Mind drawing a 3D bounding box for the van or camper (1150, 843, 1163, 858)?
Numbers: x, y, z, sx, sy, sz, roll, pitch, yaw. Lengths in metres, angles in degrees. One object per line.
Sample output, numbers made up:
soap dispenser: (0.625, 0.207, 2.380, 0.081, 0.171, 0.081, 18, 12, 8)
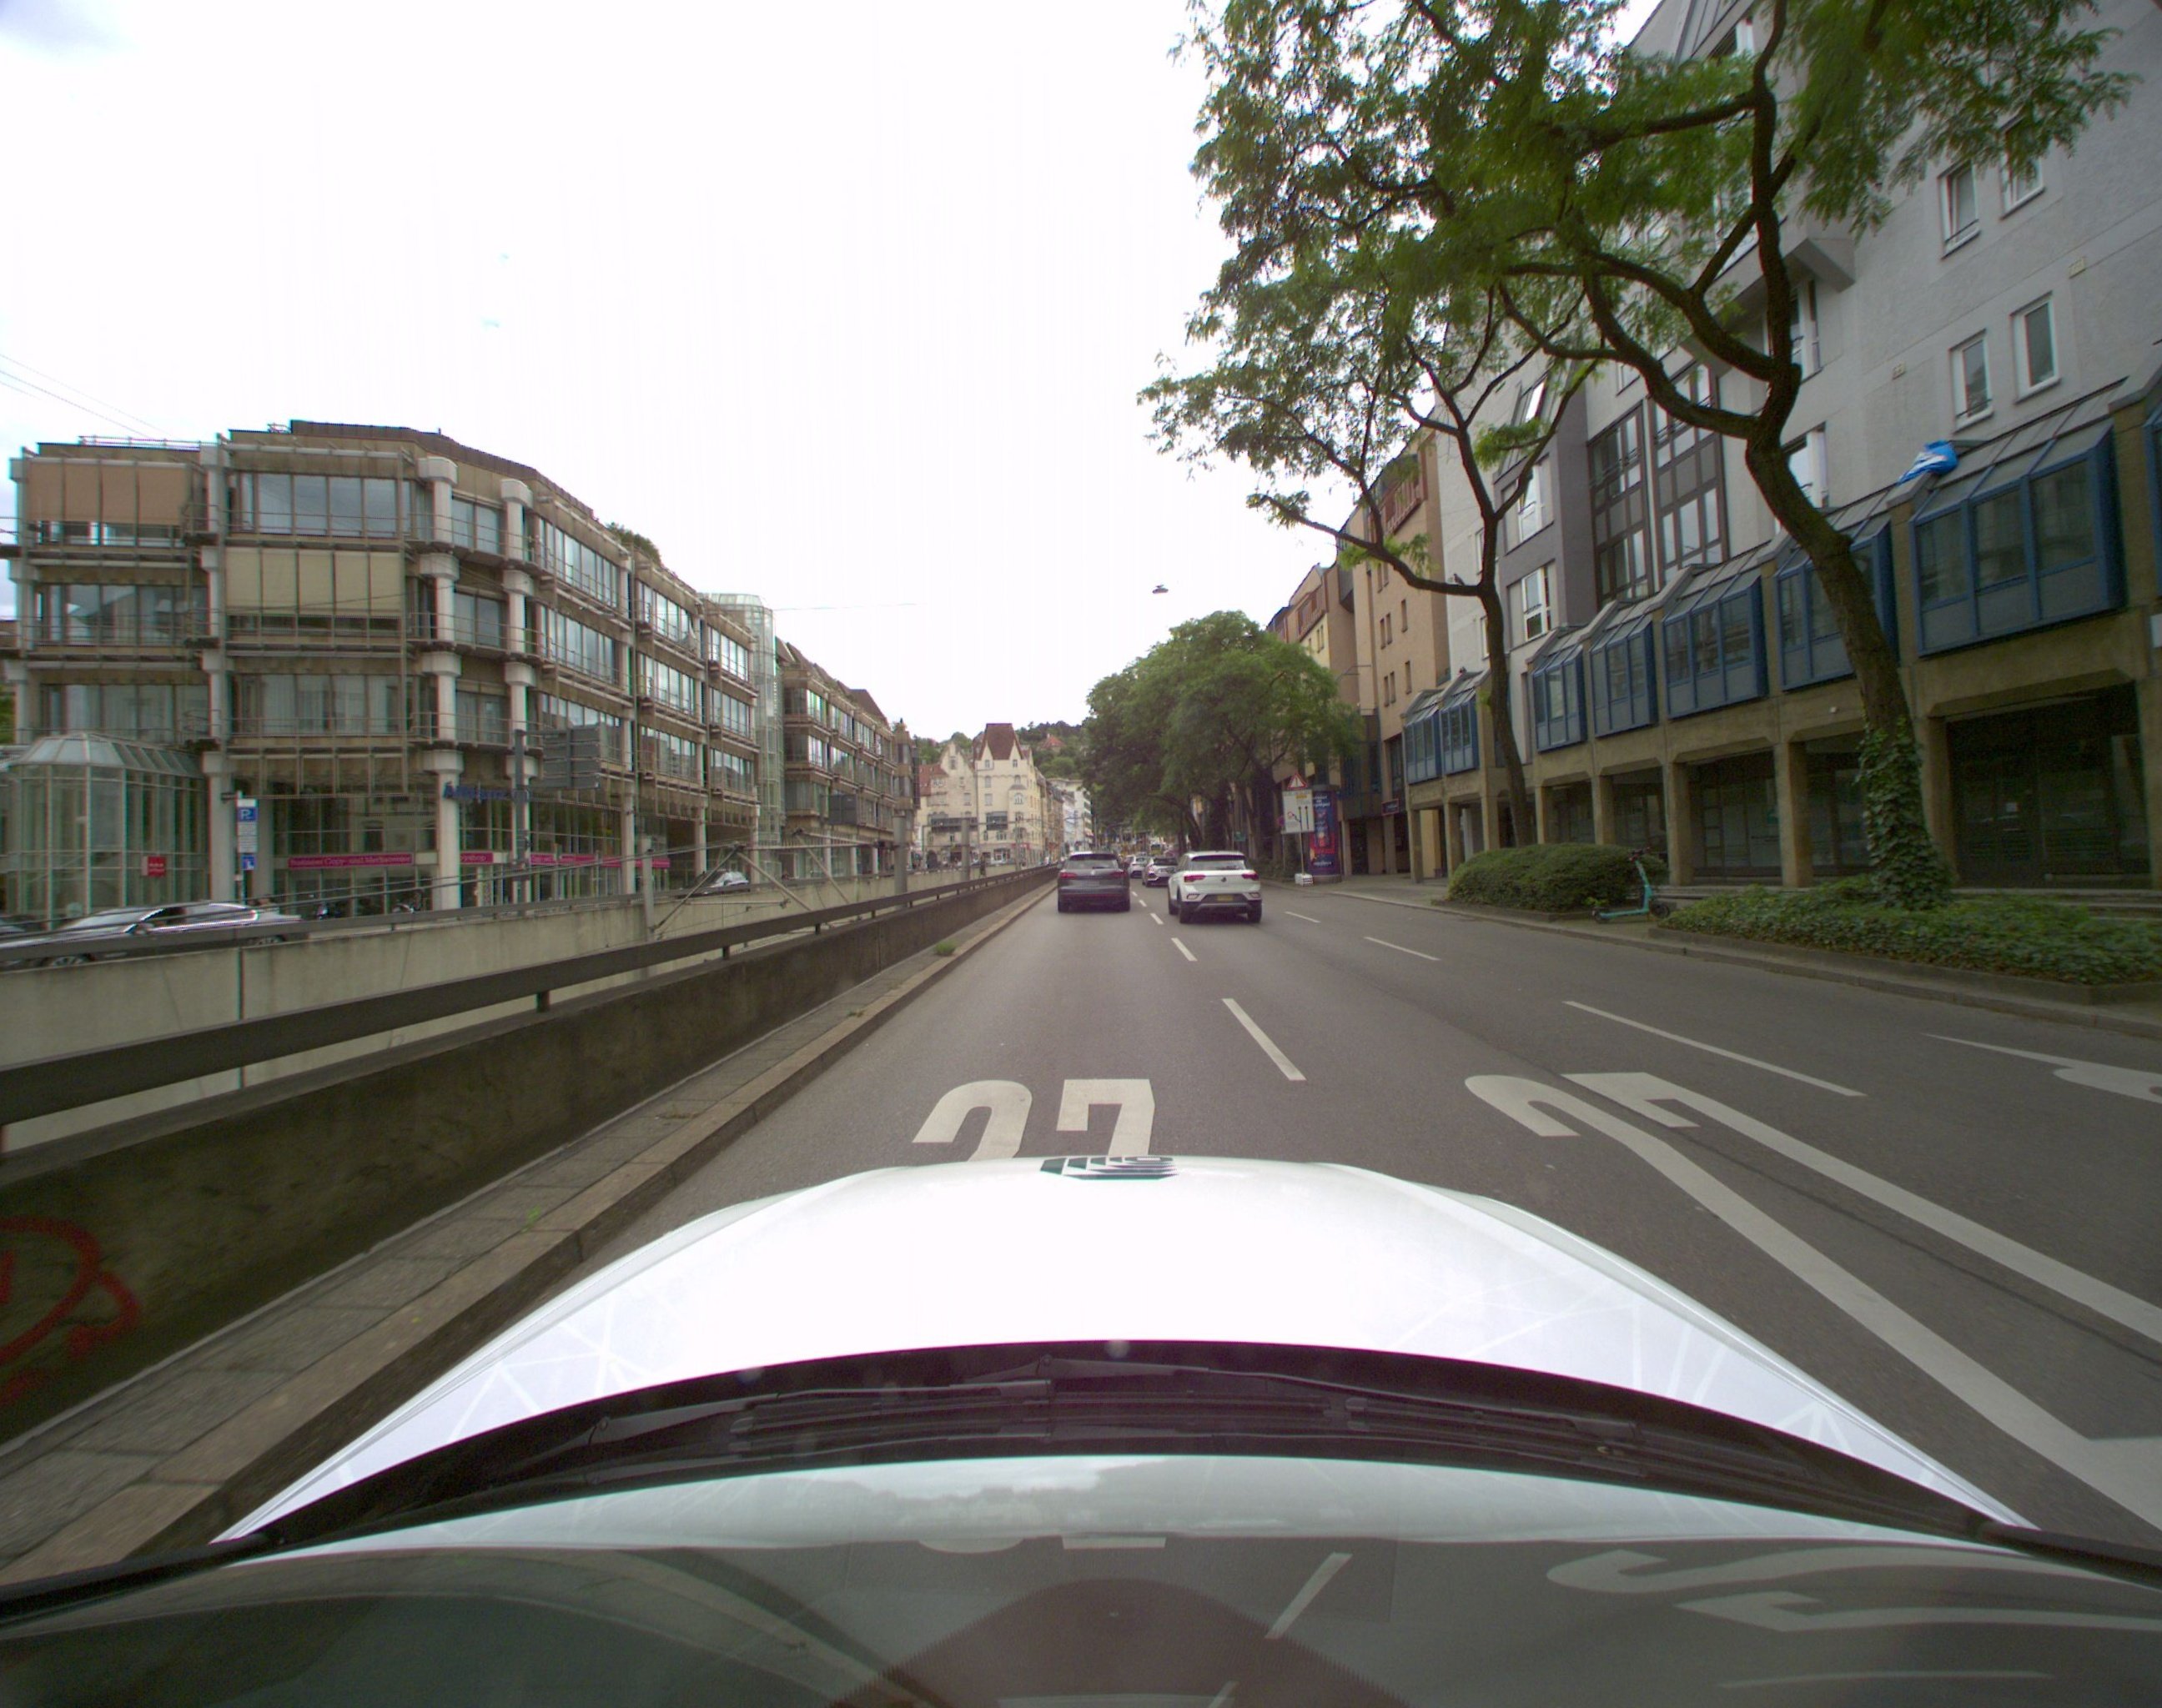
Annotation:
van or camper: (16.702, -0.755, 179.600, 2.614, 3.178, 5.813, -3, 0, 6)

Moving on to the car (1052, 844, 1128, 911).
car: (0.211, 0.580, 23.177, 1.964, 1.695, 4.223, -1, 1, -1)

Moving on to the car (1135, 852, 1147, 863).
car: (10.723, 0.623, 146.062, 1.825, 1.874, 4.874, -3, 0, 3)

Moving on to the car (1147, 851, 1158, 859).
car: (13.965, 0.204, 158.908, 1.833, 1.469, 4.008, -3, 0, 7)

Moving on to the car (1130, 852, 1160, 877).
car: (4.262, 0.687, 54.556, 1.825, 1.517, 3.770, -4, 0, 3)

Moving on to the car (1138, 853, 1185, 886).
car: (3.738, 0.717, 38.387, 1.827, 1.432, 4.147, -2, 0, 0)

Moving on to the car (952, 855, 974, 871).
car: (-14.179, 1.061, 98.123, 1.986, 1.767, 4.001, -3, 0, 1)

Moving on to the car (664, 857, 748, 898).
car: (-18.215, 1.110, 39.802, 1.986, 1.767, 4.281, -3, 0, 1)

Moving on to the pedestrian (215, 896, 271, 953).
pedestrian: (-23.923, 1.996, 23.269, 0.699, 1.544, 0.845, -3, 0, -7)

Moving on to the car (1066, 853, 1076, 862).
car: (-2.022, 0.763, 164.624, 1.814, 1.647, 3.996, -3, 0, -2)

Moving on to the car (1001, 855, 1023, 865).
car: (-12.705, 1.142, 150.034, 3.983, 1.647, 1.820, -2, 0, -7)

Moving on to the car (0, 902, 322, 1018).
car: (-18.176, 1.917, 15.852, 1.985, 1.585, 4.892, -3, 0, 4)

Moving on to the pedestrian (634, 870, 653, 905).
pedestrian: (-23.323, 1.784, 43.392, 0.530, 1.793, 0.695, -3, 0, 2)

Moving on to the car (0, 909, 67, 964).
car: (-31.521, 2.398, 23.078, 3.434, 1.436, 1.650, -3, 0, 0)

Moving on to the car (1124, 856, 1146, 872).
car: (5.086, 0.898, 77.149, 1.825, 1.363, 3.768, -4, 0, 2)

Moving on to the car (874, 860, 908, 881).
car: (-17.591, 1.521, 75.555, 1.986, 1.767, 4.281, -3, 0, 1)

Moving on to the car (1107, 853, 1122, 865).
car: (4.514, 0.652, 110.718, 1.825, 1.567, 3.768, -3, 0, 1)

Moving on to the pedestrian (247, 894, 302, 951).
pedestrian: (-23.152, 1.956, 23.385, 0.699, 1.544, 0.845, -3, 0, -7)

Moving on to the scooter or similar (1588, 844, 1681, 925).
scooter or similar: (9.359, 0.512, 13.805, 1.154, 1.285, 0.427, -5, 0, 10)

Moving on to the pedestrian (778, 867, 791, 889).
pedestrian: (-24.545, 1.981, 67.405, 0.773, 1.824, 0.711, -2, 0, -9)

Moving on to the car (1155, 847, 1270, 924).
car: (2.895, 0.679, 18.770, 1.793, 1.545, 3.930, -1, -1, -3)

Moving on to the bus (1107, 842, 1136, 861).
bus: (8.427, -0.505, 166.956, 3.827, 3.532, 17.289, -3, 0, 9)

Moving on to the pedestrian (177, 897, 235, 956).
pedestrian: (-24.759, 2.040, 23.060, 0.699, 1.544, 0.845, -3, 0, -7)

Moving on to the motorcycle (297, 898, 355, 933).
motorcycle: (-30.916, 2.484, 33.371, 0.792, 1.257, 1.931, -2, 0, -11)
